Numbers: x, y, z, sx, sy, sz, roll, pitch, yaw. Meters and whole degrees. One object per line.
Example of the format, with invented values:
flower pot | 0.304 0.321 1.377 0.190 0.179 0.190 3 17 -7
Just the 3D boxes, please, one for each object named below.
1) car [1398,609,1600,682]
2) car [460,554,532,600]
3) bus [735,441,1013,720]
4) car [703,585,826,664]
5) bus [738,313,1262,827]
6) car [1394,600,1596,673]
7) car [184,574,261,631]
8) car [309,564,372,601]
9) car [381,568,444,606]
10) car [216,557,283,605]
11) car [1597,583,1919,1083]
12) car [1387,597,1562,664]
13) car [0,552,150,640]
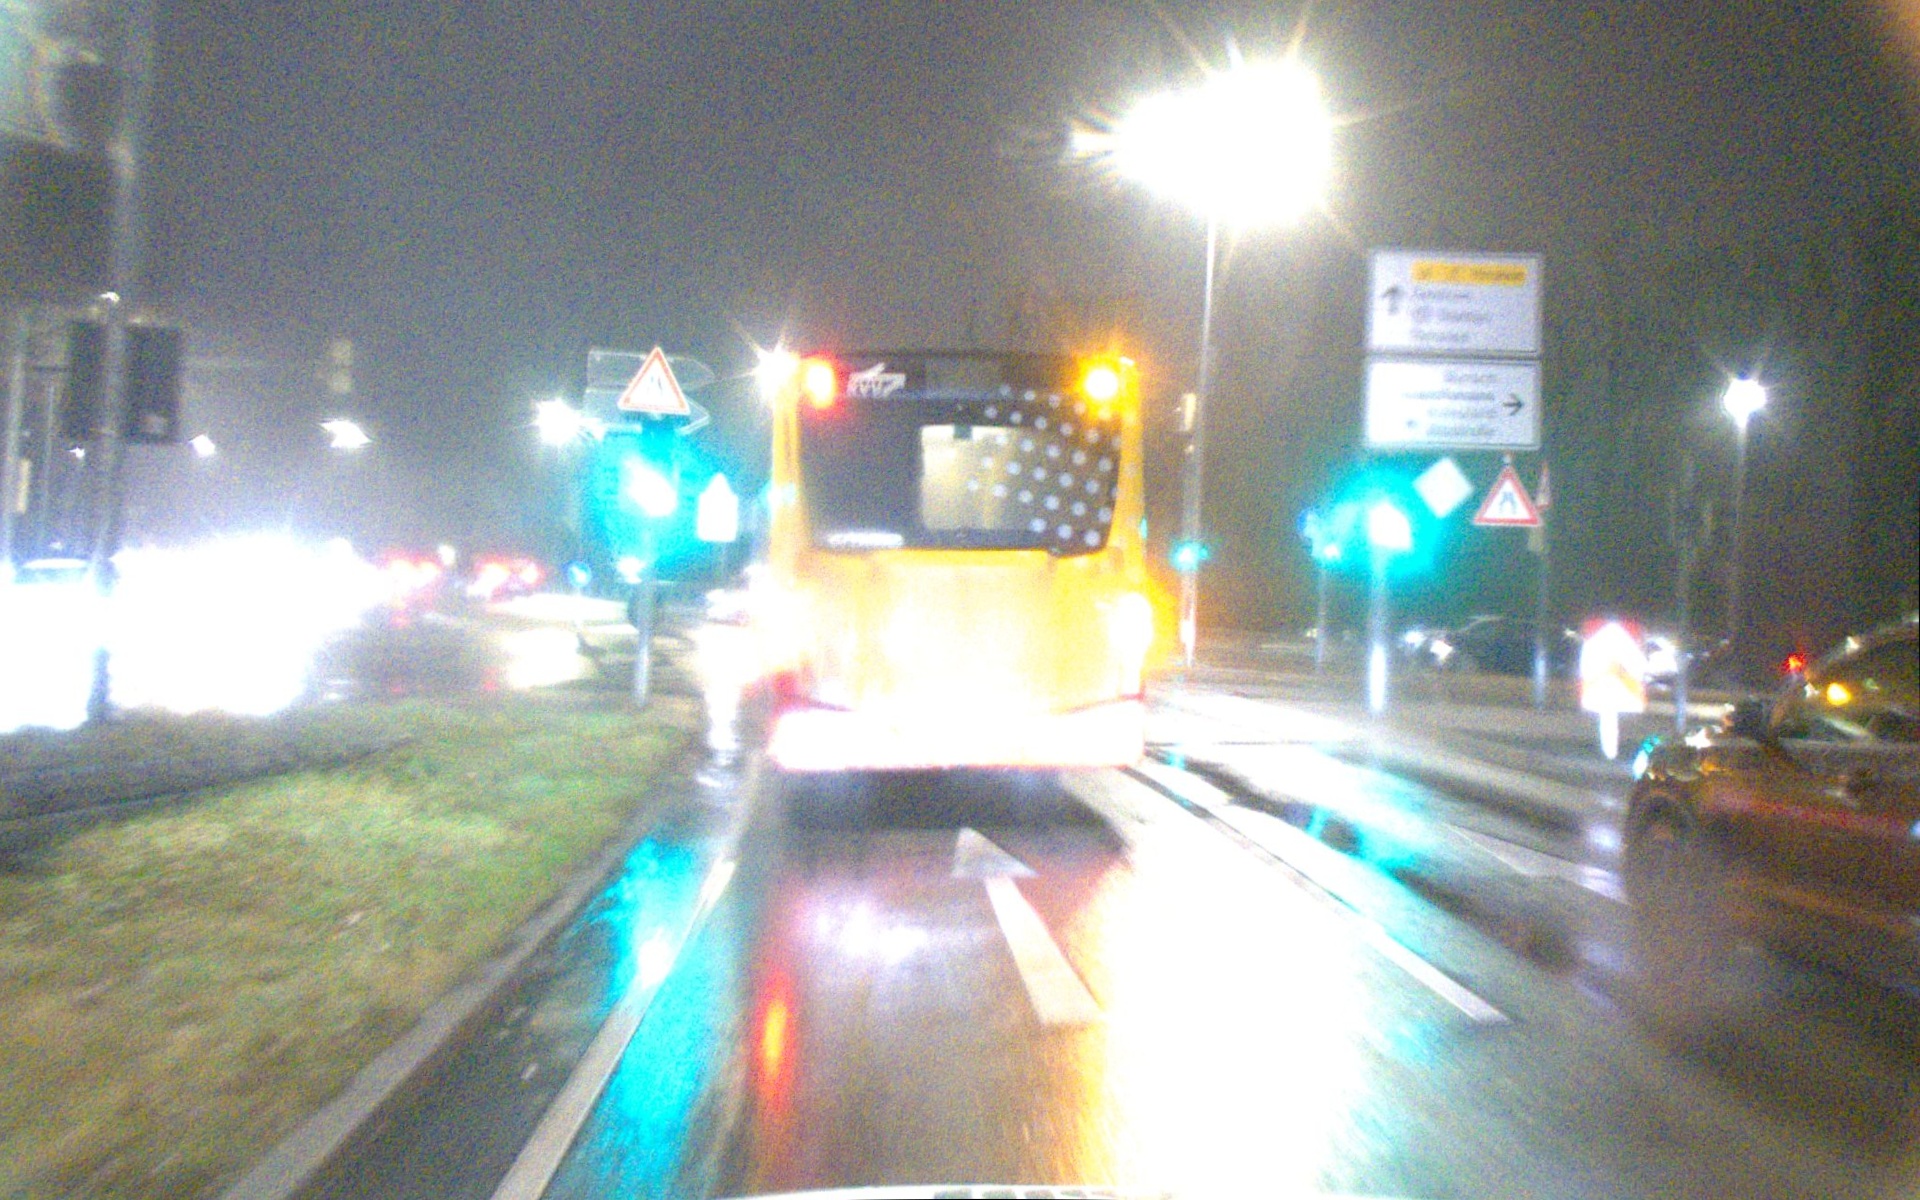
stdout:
car | 12.183 1.018 37.521 3.963 1.369 1.746 3 1 -5
car | -18.122 -0.893 64.516 1.796 1.646 3.962 3 -1 -29
bus | -1.494 -0.313 24.201 3.185 3.174 8.634 3 1 -6
car | -5.545 0.657 46.531 1.970 2.049 4.309 3 -1 -28
bus | -0.261 -0.178 14.922 3.222 3.104 9.529 -1 0 -7
car | 13.372 0.891 41.506 4.395 1.545 1.855 3 1 -5
car | -20.498 0.086 46.104 1.765 1.482 4.546 -1 0 -22
car | -32.148 -0.918 85.773 2.072 1.672 3.684 6 -2 -35
car | -25.820 -0.612 77.909 1.800 1.646 3.953 3 -1 -34
car | -24.599 -0.633 57.347 1.753 1.486 4.451 4 -1 -20
car | 3.802 0.760 5.489 1.644 1.548 3.957 2 -1 -3
car | 13.846 0.797 44.650 4.082 1.545 1.855 3 1 -5
car | -16.248 -0.102 30.249 1.760 1.482 4.558 -1 1 -16
